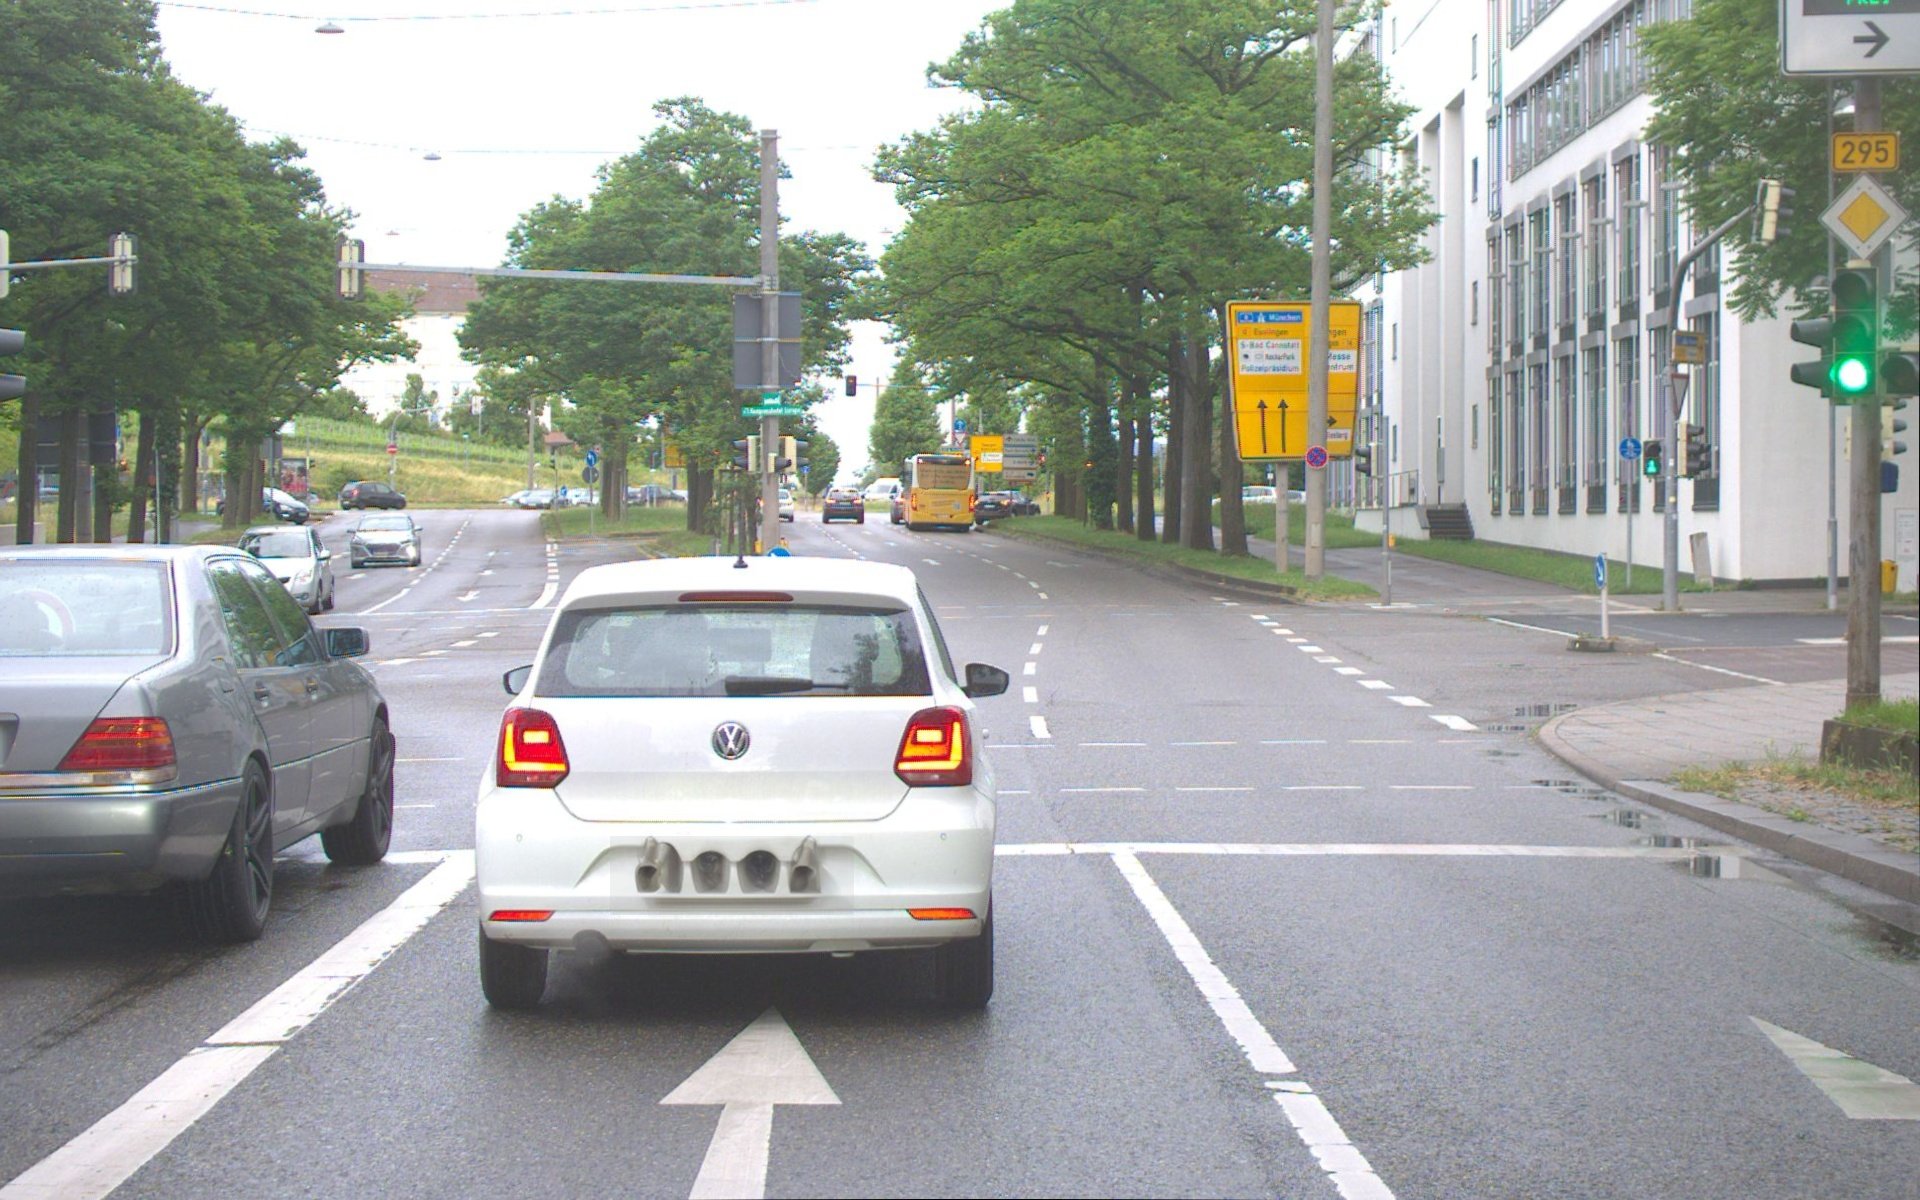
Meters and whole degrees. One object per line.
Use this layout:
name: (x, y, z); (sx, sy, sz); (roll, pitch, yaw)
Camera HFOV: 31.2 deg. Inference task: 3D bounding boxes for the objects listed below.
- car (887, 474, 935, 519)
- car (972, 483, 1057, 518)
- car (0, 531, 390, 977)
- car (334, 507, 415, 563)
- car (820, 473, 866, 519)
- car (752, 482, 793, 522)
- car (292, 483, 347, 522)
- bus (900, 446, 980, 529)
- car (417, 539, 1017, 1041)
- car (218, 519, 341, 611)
car: (-2.226, -4.644, 154.848); (1.993, 2.007, 4.001); (0, 1, -3)
car: (2.462, -4.446, 153.753); (1.699, 1.510, 3.818); (1, 1, 43)
car: (-3.549, 0.496, 13.718); (1.847, 1.505, 4.048); (-1, 1, 0)
car: (-16.127, -1.803, 94.812); (1.814, 1.406, 4.657); (-2, 2, -5)
car: (-5.243, -4.653, 153.966); (1.993, 2.007, 4.001); (0, 1, -3)
car: (-8.485, -4.424, 155.608); (1.794, 1.735, 4.001); (-1, 1, -3)
car: (-28.502, -4.374, 153.092); (1.993, 1.610, 5.122); (-2, 3, -6)
bus: (-0.878, -4.604, 141.556); (2.828, 3.255, 10.002); (-1, 2, -3)
car: (-0.780, 0.538, 12.332); (1.794, 1.497, 4.000); (0, 1, -1)
car: (-12.130, -0.660, 61.487); (1.750, 1.515, 3.818); (-1, 2, -5)
